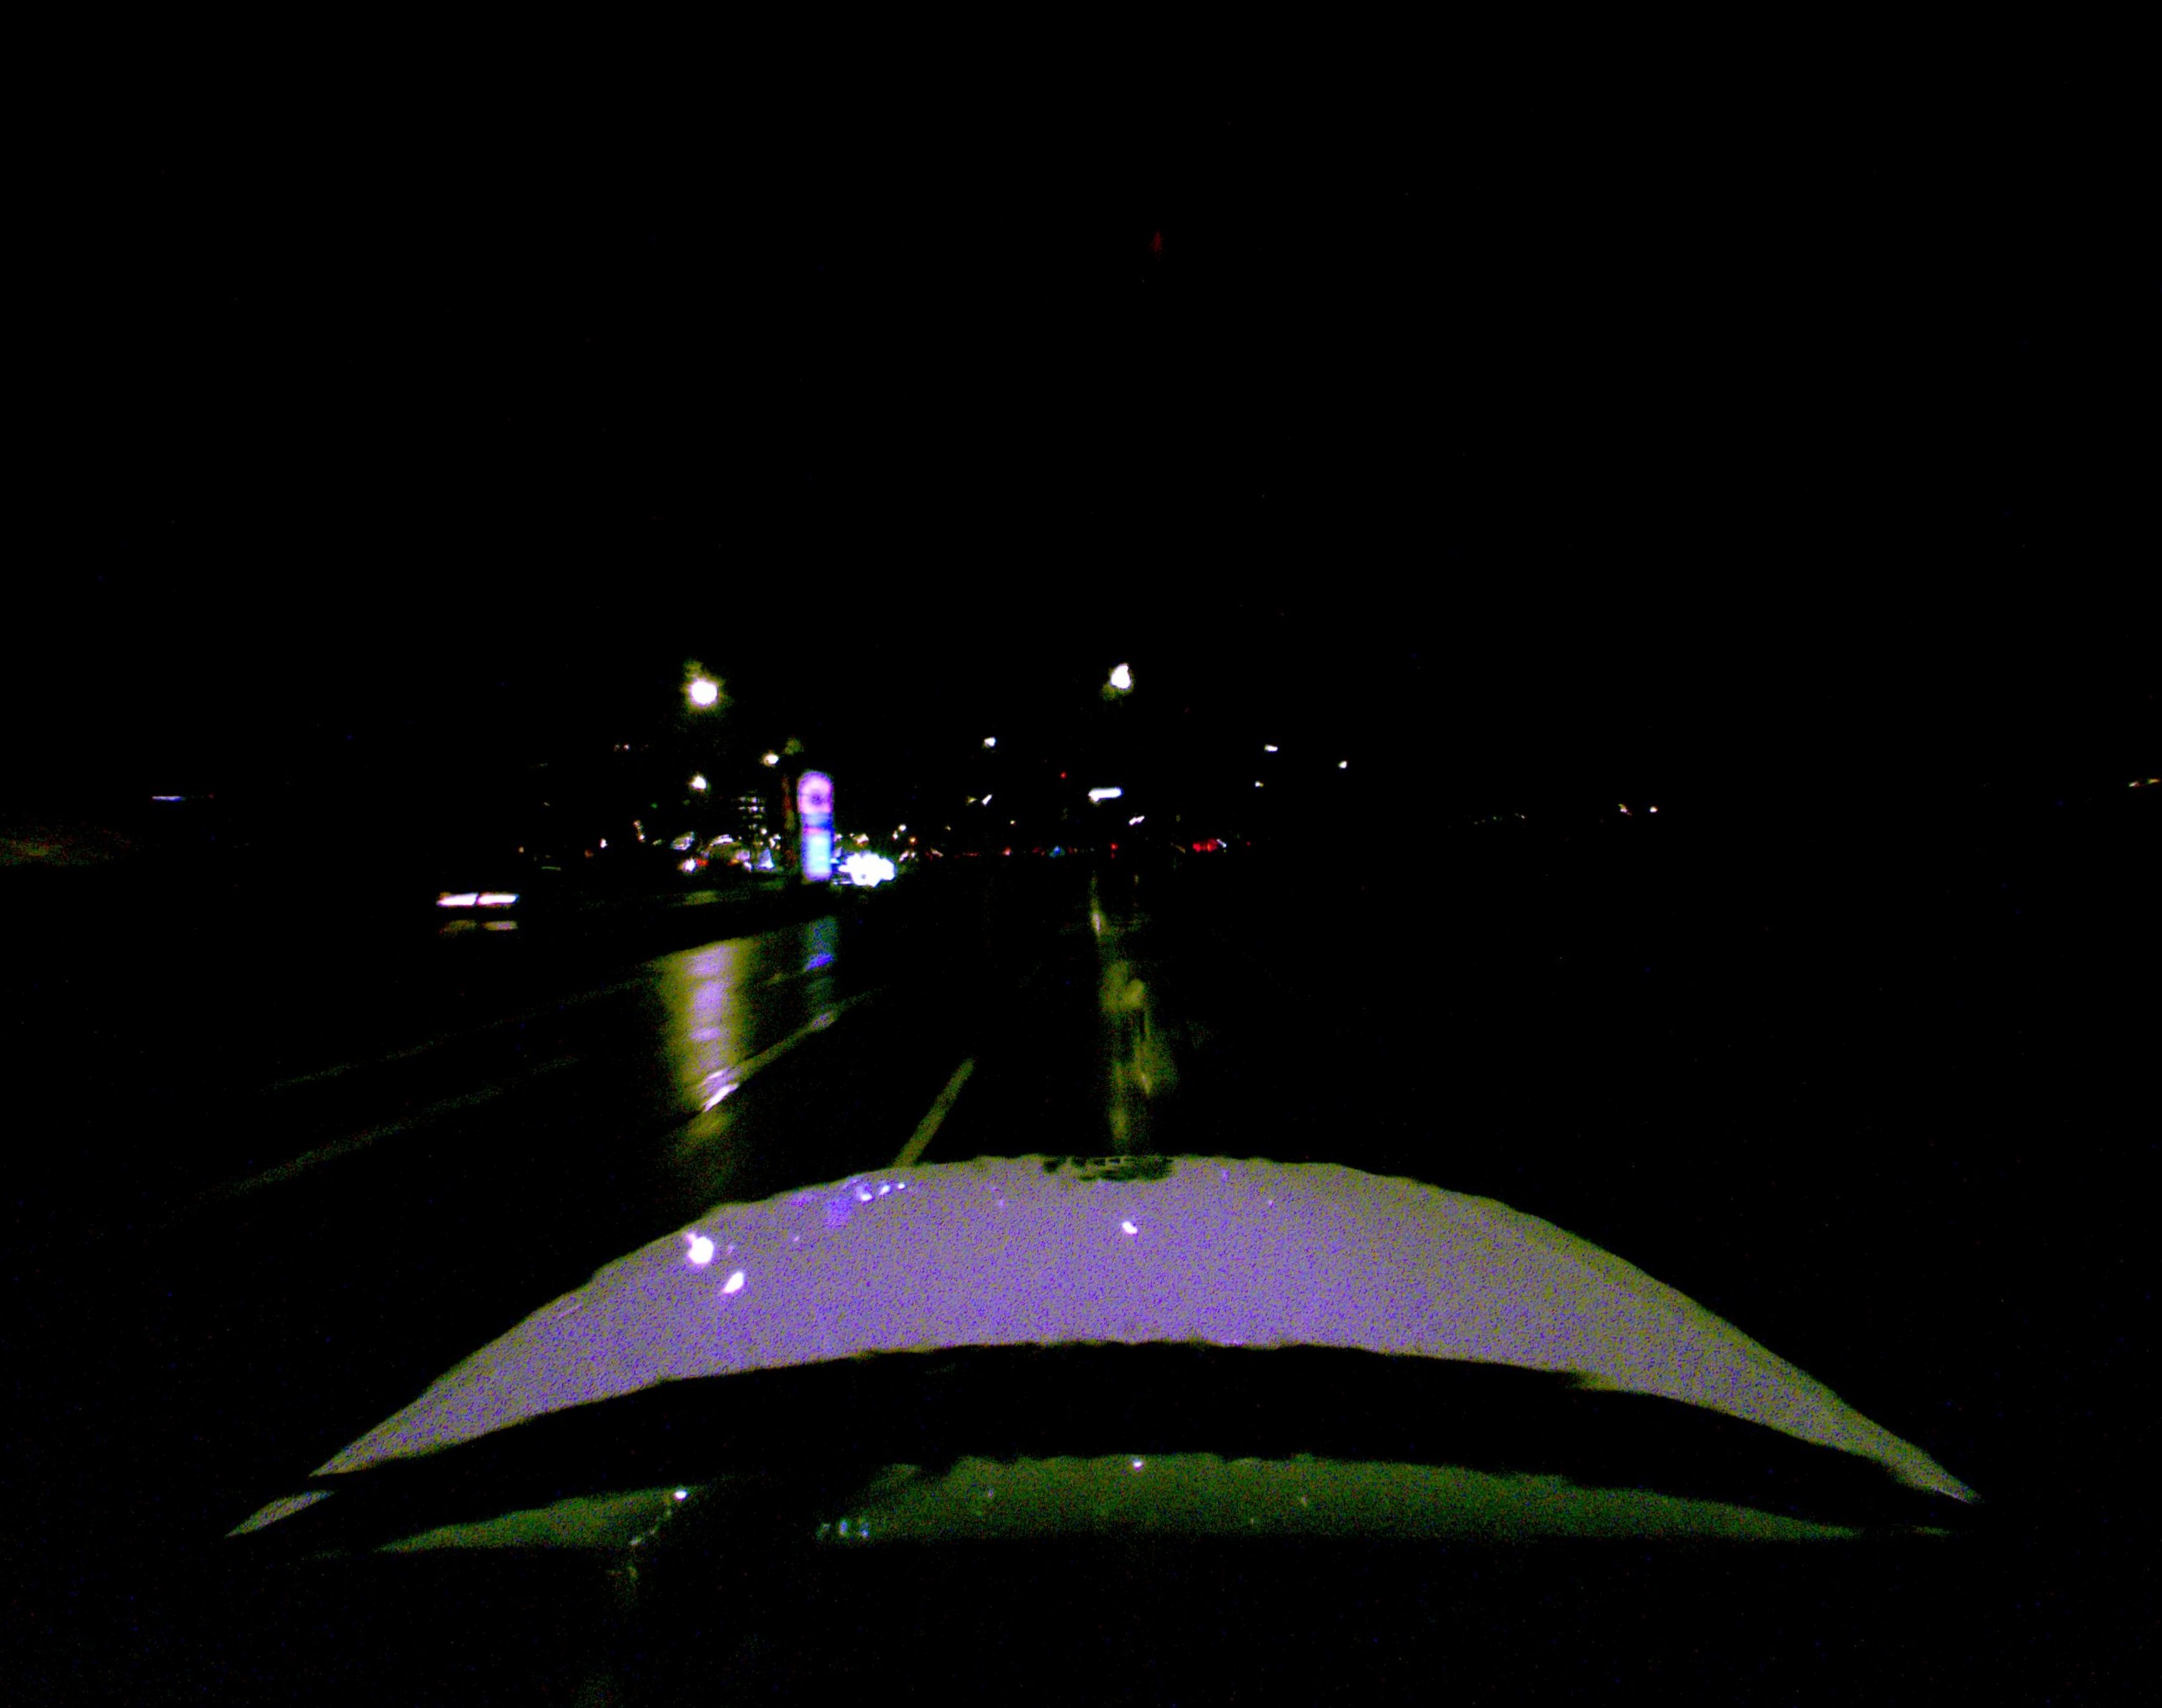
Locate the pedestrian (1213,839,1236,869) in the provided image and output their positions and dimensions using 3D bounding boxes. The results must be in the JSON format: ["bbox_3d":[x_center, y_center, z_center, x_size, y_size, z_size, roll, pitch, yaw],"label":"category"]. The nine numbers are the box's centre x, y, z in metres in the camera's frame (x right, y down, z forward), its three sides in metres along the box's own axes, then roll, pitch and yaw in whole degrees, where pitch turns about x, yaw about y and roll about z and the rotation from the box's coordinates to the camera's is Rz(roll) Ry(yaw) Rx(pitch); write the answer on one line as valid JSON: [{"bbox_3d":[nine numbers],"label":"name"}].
[{"bbox_3d":[8.935,0.002,50.815,1.223,1.794,1.491,0,0,2],"label":"pedestrian"}]

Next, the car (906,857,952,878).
[{"bbox_3d":[-15.955,1.391,85.331,4.554,2.013,1.988,-1,0,-18],"label":"car"}]

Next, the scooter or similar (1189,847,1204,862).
[{"bbox_3d":[9.055,0.031,63.784,1.090,1.097,0.320,-2,-1,30],"label":"scooter or similar"}]

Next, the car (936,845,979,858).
[{"bbox_3d":[-19.601,-0.437,129.227,6.320,2.089,2.496,-1,0,-23],"label":"car"}]

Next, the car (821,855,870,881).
[{"bbox_3d":[-14.535,0.820,50.475,1.823,1.464,3.999,0,1,-1],"label":"car"}]

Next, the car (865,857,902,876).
[{"bbox_3d":[-16.174,0.989,66.966,1.823,1.464,4.659,0,1,0],"label":"car"}]

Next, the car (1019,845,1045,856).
[{"bbox_3d":[-7.872,-0.564,131.051,3.939,1.578,1.737,0,0,-1],"label":"car"}]

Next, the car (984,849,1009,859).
[{"bbox_3d":[-13.551,-0.053,131.319,3.981,1.616,1.833,0,0,-5],"label":"car"}]

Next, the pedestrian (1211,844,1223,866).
[{"bbox_3d":[9.524,0.053,56.893,0.723,1.485,0.836,0,0,1],"label":"pedestrian"}]

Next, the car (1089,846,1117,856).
[{"bbox_3d":[3.506,-0.482,129.051,3.950,1.616,1.848,0,0,28],"label":"car"}]

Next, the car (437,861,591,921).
[{"bbox_3d":[-18.335,1.128,26.632,1.822,1.713,4.443,0,1,2],"label":"car"}]
